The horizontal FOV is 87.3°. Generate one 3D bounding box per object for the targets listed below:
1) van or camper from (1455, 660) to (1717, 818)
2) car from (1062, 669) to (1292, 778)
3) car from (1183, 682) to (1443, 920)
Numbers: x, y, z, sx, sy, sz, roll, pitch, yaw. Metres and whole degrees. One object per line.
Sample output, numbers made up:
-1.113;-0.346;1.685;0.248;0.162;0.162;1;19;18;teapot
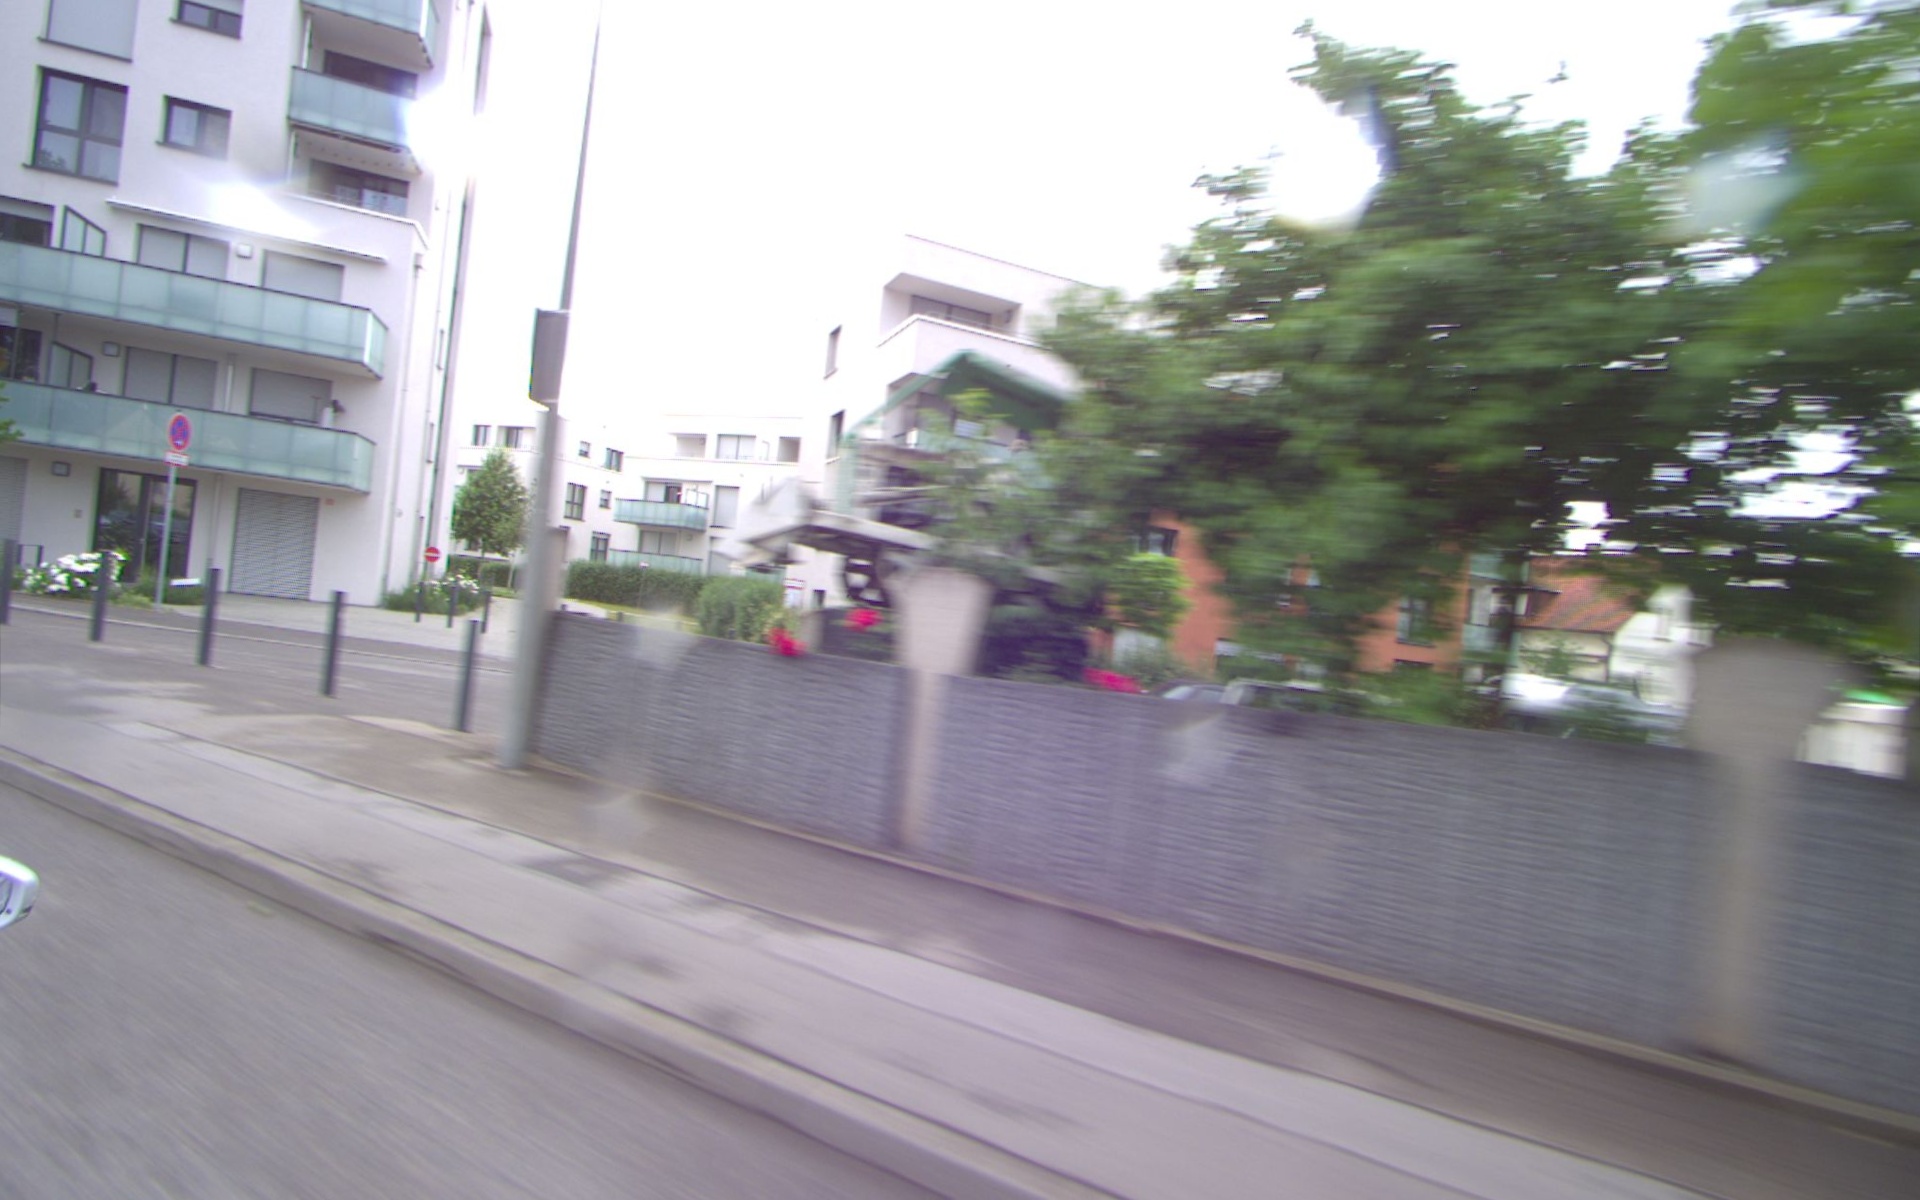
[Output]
15.673;3.484;25.176;5.874;3.030;2.314;9;-1;-23;van or camper
4.376;2.482;20.294;4.074;1.560;1.844;9;-1;-22;car
4.220;2.087;11.538;1.966;1.891;4.134;8;-1;29;car
